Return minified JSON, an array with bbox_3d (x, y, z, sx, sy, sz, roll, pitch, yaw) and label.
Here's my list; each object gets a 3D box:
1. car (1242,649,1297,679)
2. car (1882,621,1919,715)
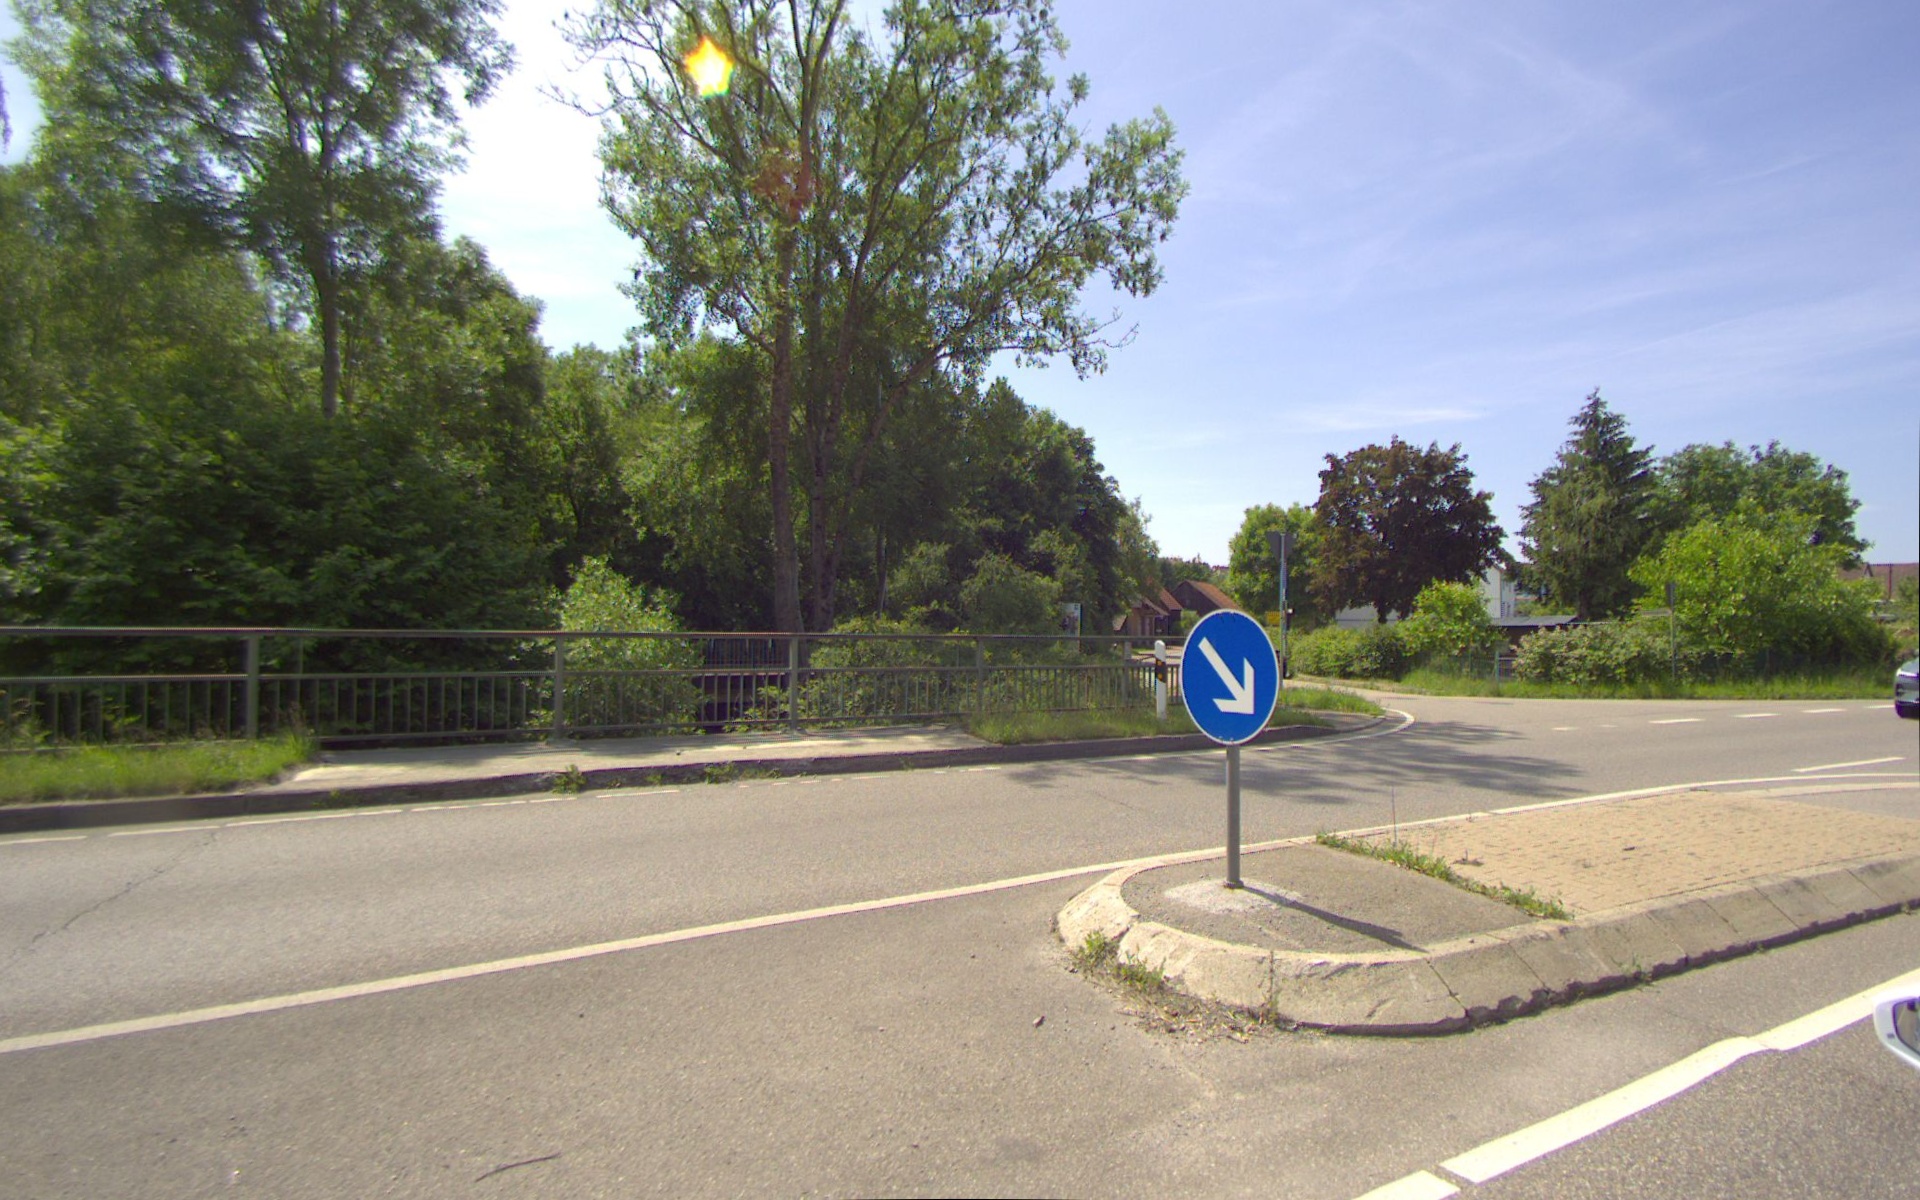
[{"bbox_3d":[15.499,3.192,50.405,1.762,1.375,4.003,3,-2,5],"label":"car"},{"bbox_3d":[19.062,1.247,18.505,4.382,1.676,1.938,2,-2,-32],"label":"car"}]
